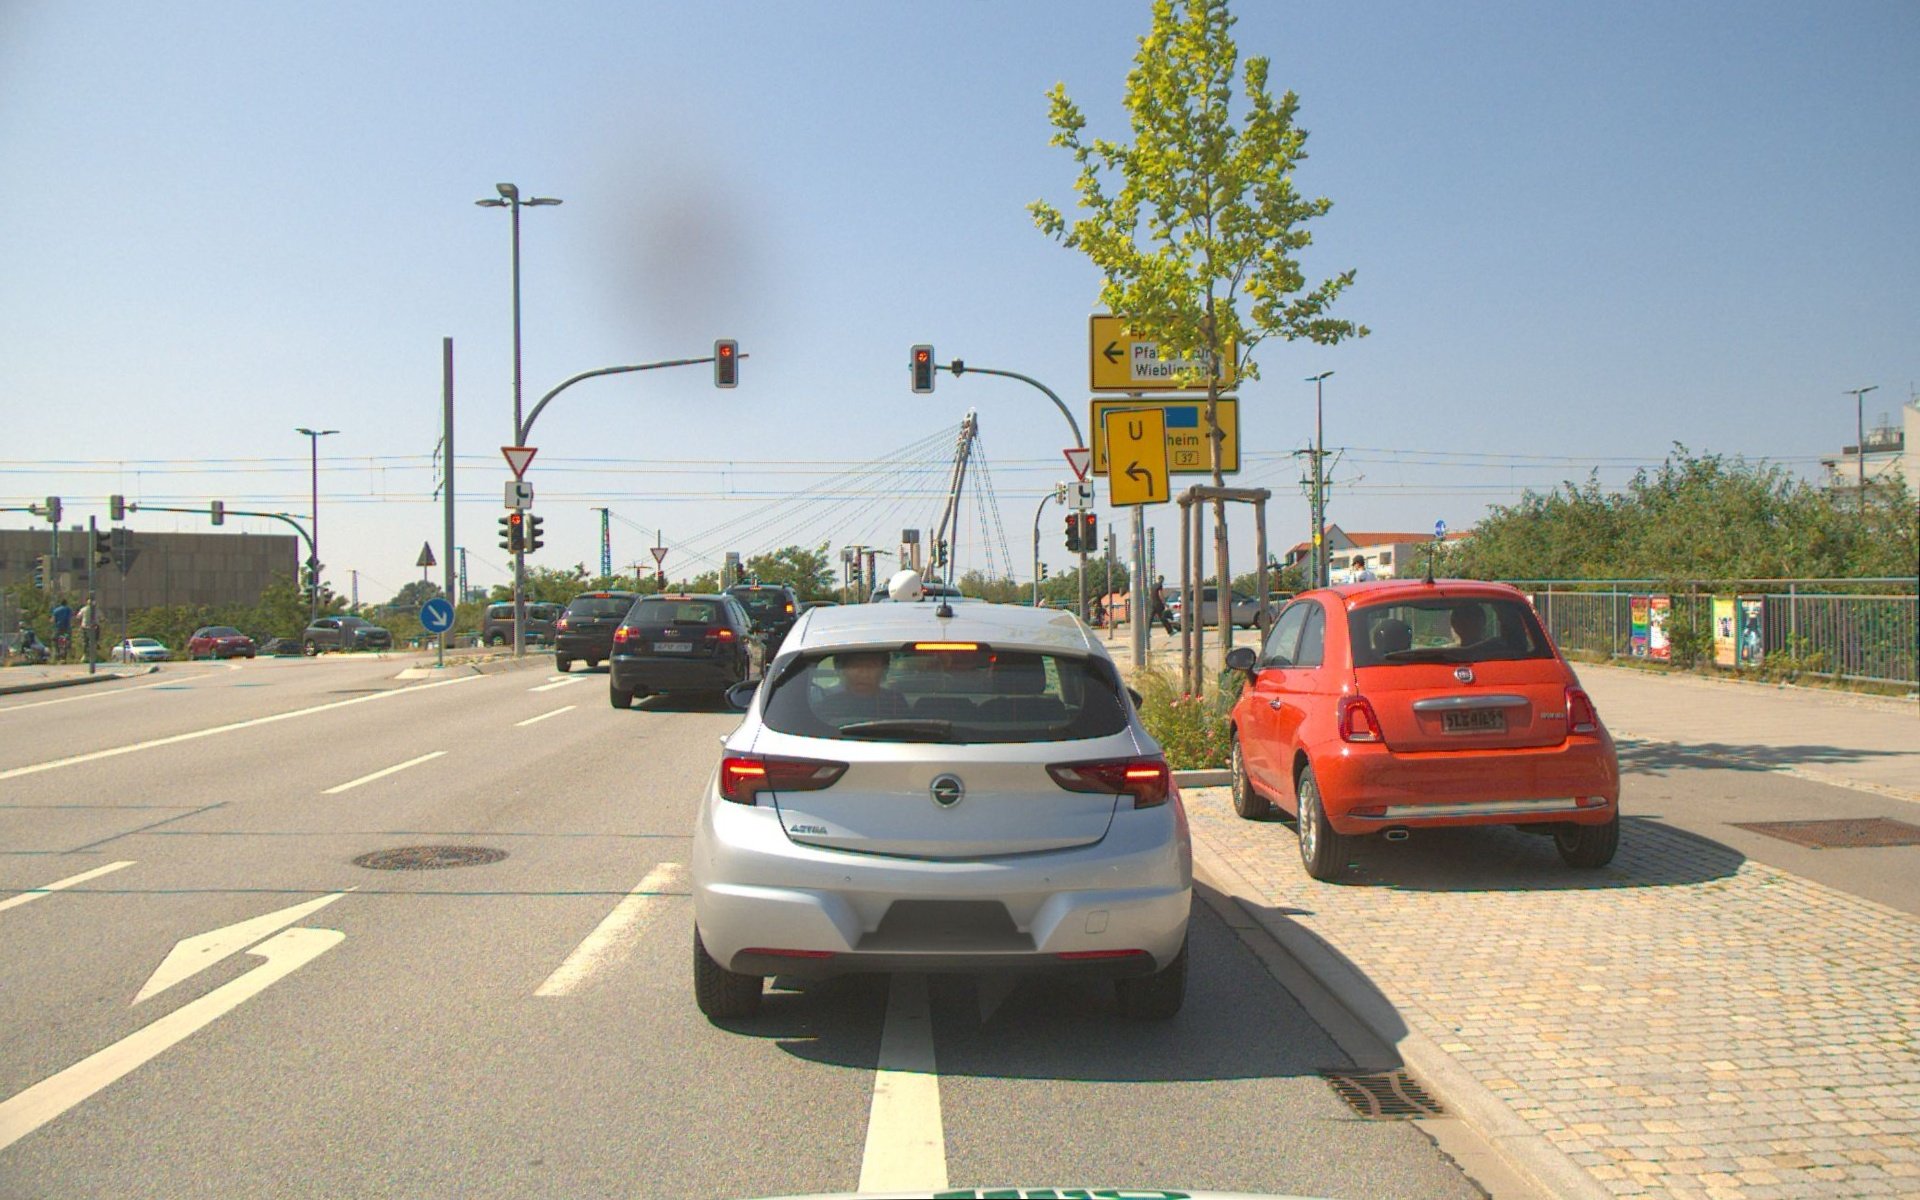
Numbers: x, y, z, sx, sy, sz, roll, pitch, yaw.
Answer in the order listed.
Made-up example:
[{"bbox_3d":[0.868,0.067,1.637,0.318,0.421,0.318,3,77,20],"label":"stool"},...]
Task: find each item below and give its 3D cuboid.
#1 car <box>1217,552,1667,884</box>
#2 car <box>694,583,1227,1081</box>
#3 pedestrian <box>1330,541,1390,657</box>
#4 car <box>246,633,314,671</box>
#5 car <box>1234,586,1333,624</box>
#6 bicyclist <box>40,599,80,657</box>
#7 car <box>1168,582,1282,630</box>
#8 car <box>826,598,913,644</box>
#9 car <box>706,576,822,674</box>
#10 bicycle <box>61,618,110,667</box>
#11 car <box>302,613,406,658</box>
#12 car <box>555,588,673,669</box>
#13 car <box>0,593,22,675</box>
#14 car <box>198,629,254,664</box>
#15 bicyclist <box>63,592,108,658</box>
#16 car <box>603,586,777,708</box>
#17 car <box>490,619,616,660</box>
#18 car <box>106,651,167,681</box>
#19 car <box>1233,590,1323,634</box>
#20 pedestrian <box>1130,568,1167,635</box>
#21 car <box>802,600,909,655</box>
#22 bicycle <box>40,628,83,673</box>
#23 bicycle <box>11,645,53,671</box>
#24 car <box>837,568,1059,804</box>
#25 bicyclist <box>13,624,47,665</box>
[{"bbox_3d":[2.662,0.565,10.053,1.635,1.566,3.917,-2,0,1],"label":"car"},{"bbox_3d":[-0.044,0.730,7.302,1.656,1.546,4.269,0,0,-1],"label":"car"},{"bbox_3d":[6.589,-0.011,27.303,0.743,1.862,0.884,1,-1,-1],"label":"pedestrian"},{"bbox_3d":[-38.315,2.885,93.175,3.926,2.049,1.989,0,-1,40],"label":"car"},{"bbox_3d":[15.215,0.233,77.840,4.180,1.703,1.990,1,-1,-18],"label":"car"},{"bbox_3d":[-24.983,0.778,45.904,0.853,1.587,0.815,2,-1,-35],"label":"bicyclist"},{"bbox_3d":[9.746,0.221,60.876,3.746,1.657,1.852,1,-1,-10],"label":"car"},{"bbox_3d":[-4.165,0.963,76.585,3.905,2.049,2.000,-1,-1,1],"label":"car"},{"bbox_3d":[-3.678,0.472,31.592,1.767,1.650,3.915,-3,-1,-2],"label":"car"},{"bbox_3d":[-21.709,1.041,41.109,0.665,1.147,2.352,1,-1,-19],"label":"bicycle"},{"bbox_3d":[-25.527,1.494,69.671,4.115,1.771,1.716,1,-1,25],"label":"car"},{"bbox_3d":[-6.389,0.519,30.819,1.555,1.419,3.338,0,-1,-2],"label":"car"},{"bbox_3d":[-25.652,0.845,43.203,1.656,2.049,3.952,2,-1,-34],"label":"car"},{"bbox_3d":[-33.989,2.131,76.555,1.665,1.481,3.952,2,-1,-34],"label":"car"},{"bbox_3d":[-21.670,0.613,41.013,0.808,1.596,0.943,1,-1,-19],"label":"bicyclist"},{"bbox_3d":[-3.484,0.594,21.988,1.671,1.437,3.999,1,-1,-1],"label":"car"},{"bbox_3d":[-16.046,1.534,65.253,4.377,1.481,2.001,1,-1,16],"label":"car"},{"bbox_3d":[-41.888,3.349,84.111,1.758,1.356,3.654,2,-1,-44],"label":"car"},{"bbox_3d":[15.655,0.585,81.488,3.928,2.049,1.988,1,-1,-20],"label":"car"},{"bbox_3d":[5.414,0.052,47.427,0.733,1.896,0.745,2,-1,-34],"label":"pedestrian"},{"bbox_3d":[-3.962,1.047,62.953,3.905,2.049,2.000,0,-1,0],"label":"car"},{"bbox_3d":[-25.025,1.383,46.027,0.720,1.153,2.502,-6,2,-34],"label":"bicycle"},{"bbox_3d":[-27.472,1.714,48.933,0.512,0.704,2.216,1,-1,-45],"label":"bicycle"},{"bbox_3d":[-0.134,0.662,14.097,1.602,1.703,3.743,1,-1,-2],"label":"car"},{"bbox_3d":[-27.470,1.315,48.853,0.648,1.196,0.725,-2,-1,45],"label":"bicyclist"}]
